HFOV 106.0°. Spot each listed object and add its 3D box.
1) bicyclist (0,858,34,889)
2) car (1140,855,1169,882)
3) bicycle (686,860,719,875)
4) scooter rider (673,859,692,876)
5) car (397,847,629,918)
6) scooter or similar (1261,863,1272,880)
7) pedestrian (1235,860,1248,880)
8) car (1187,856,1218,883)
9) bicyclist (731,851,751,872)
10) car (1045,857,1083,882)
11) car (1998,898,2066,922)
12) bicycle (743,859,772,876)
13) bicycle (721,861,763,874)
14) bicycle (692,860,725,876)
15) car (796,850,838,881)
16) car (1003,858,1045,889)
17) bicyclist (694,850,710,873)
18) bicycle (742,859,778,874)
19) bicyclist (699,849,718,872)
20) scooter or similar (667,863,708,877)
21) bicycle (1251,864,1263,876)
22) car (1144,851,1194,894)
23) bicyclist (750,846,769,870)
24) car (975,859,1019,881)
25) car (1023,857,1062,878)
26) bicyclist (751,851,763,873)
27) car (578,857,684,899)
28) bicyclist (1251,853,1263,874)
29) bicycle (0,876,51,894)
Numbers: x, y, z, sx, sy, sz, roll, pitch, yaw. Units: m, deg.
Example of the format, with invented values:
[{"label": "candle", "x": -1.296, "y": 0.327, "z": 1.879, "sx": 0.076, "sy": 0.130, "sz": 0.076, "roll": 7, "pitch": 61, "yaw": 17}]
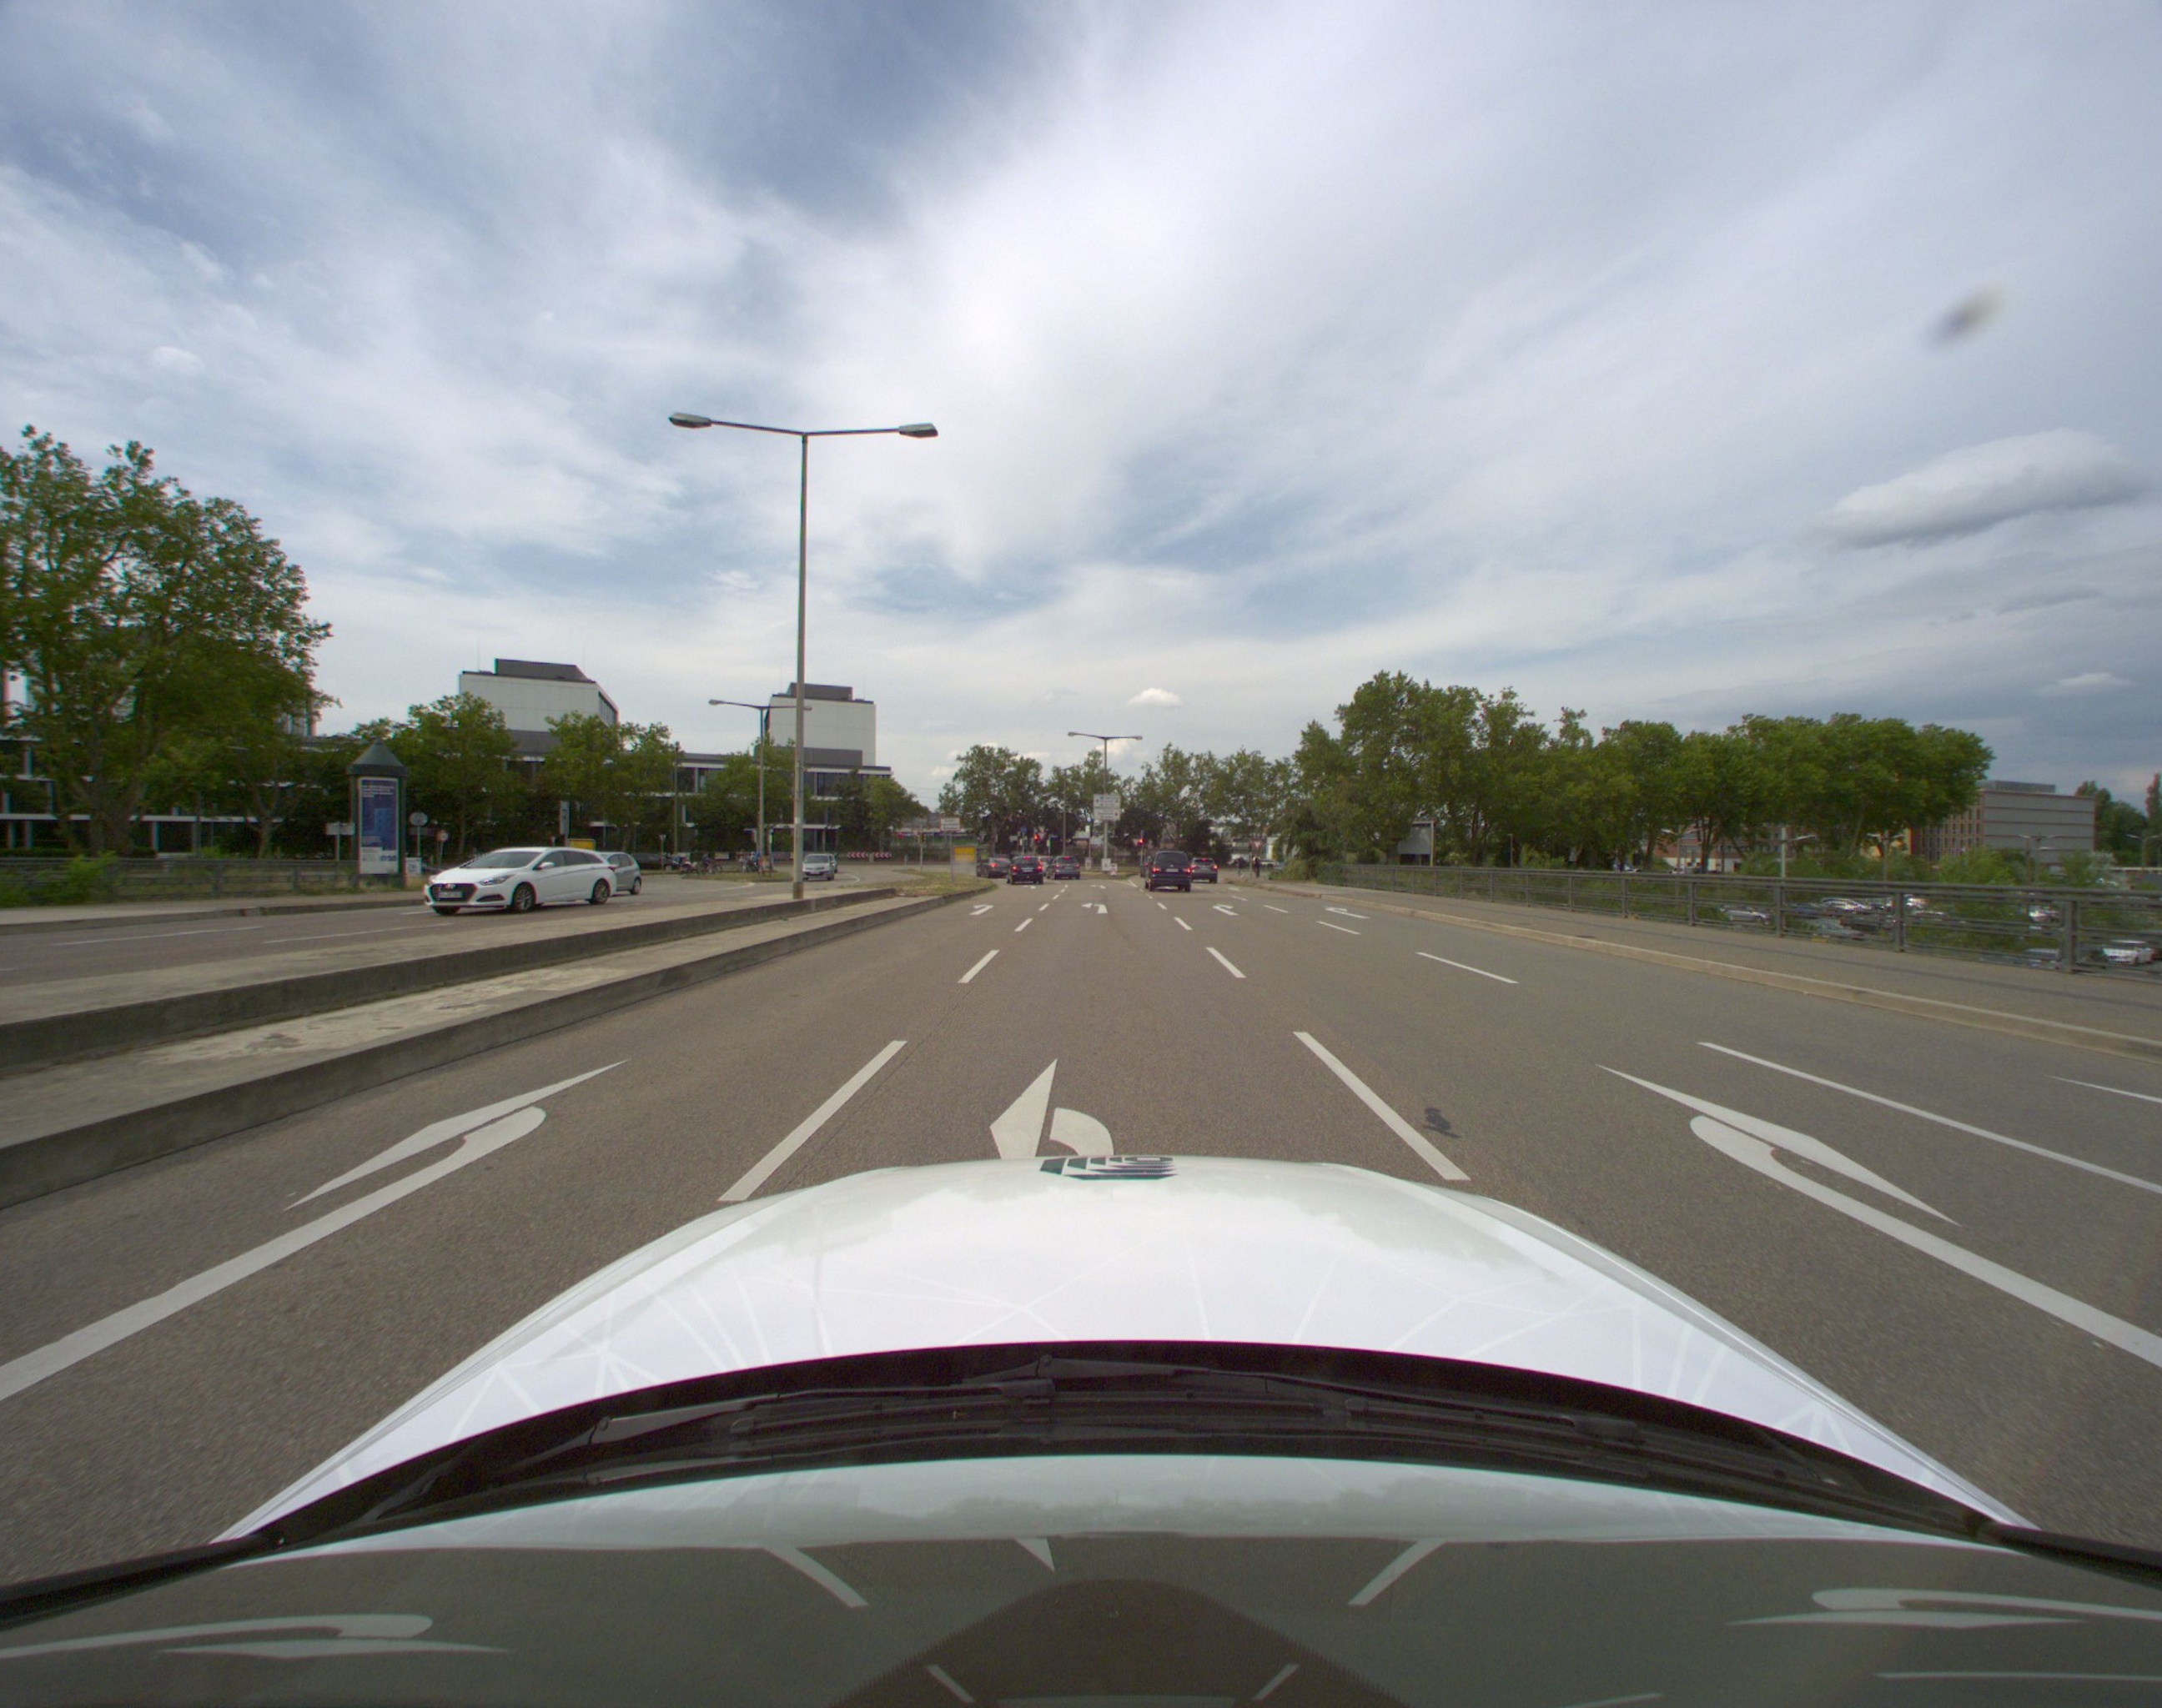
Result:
[{"label": "bicyclist", "x": -56.385, "y": 1.023, "z": 43.111, "sx": 0.921, "sy": 1.615, "sz": 0.736, "roll": 0, "pitch": 0, "yaw": -21}, {"label": "car", "x": 4.652, "y": 0.917, "z": 51.995, "sx": 1.683, "sy": 1.585, "sz": 4.159, "roll": 2, "pitch": -1, "yaw": 3}, {"label": "bicycle", "x": -25.616, "y": 0.915, "z": 55.135, "sx": 1.917, "sy": 1.013, "sz": 0.621, "roll": 0, "pitch": 0, "yaw": -42}, {"label": "scooter rider", "x": -27.162, "y": 0.940, "z": 55.460, "sx": 0.798, "sy": 1.137, "sz": 0.922, "roll": 0, "pitch": 0, "yaw": 40}, {"label": "car", "x": -13.040, "y": 0.568, "z": 19.192, "sx": 1.911, "sy": 1.415, "sz": 4.883, "roll": -1, "pitch": 0, "yaw": 2}, {"label": "scooter or similar", "x": 12.996, "y": 1.255, "z": 57.135, "sx": 0.396, "sy": 1.183, "sz": 1.278, "roll": 0, "pitch": -1, "yaw": -5}, {"label": "pedestrian", "x": 13.759, "y": 1.346, "z": 69.893, "sx": 1.040, "sy": 1.710, "sz": 0.856, "roll": 1, "pitch": 0, "yaw": 12}, {"label": "car", "x": 7.778, "y": 0.997, "z": 52.493, "sx": 1.741, "sy": 1.643, "sz": 4.144, "roll": 2, "pitch": -1, "yaw": 6}, {"label": "bicyclist", "x": -23.697, "y": 0.541, "z": 56.813, "sx": 0.639, "sy": 1.436, "sz": 1.124, "roll": 0, "pitch": 1, "yaw": 44}, {"label": "car", "x": -1.179, "y": 0.993, "z": 53.991, "sx": 1.743, "sy": 1.546, "sz": 4.063, "roll": 0, "pitch": -1, "yaw": -13}, {"label": "car", "x": 90.853, "y": 5.323, "z": 77.867, "sx": 1.767, "sy": 2.013, "sz": 3.964, "roll": 0, "pitch": 0, "yaw": -28}, {"label": "bicycle", "x": -23.269, "y": 0.978, "z": 58.532, "sx": 1.910, "sy": 1.210, "sz": 0.638, "roll": 0, "pitch": 0, "yaw": -25}, {"label": "bicycle", "x": -23.643, "y": 0.928, "z": 56.852, "sx": 0.696, "sy": 0.890, "sz": 2.607, "roll": 0, "pitch": 0, "yaw": 44}, {"label": "bicycle", "x": -24.913, "y": 0.947, "z": 54.516, "sx": 1.916, "sy": 1.013, "sz": 0.621, "roll": 0, "pitch": 0, "yaw": -38}, {"label": "car", "x": -14.873, "y": 0.639, "z": 46.055, "sx": 1.742, "sy": 1.659, "sz": 4.064, "roll": -1, "pitch": -1, "yaw": -10}, {"label": "car", "x": -3.244, "y": 1.040, "z": 45.580, "sx": 1.759, "sy": 1.575, "sz": 4.018, "roll": 1, "pitch": 0, "yaw": -13}, {"label": "bicyclist", "x": -25.646, "y": 0.490, "z": 55.102, "sx": 0.846, "sy": 1.529, "sz": 0.621, "roll": 0, "pitch": 0, "yaw": -42}, {"label": "bicycle", "x": -21.903, "y": 0.830, "z": 55.601, "sx": 0.801, "sy": 0.952, "sz": 2.249, "roll": 0, "pitch": 0, "yaw": 35}, {"label": "bicyclist", "x": -24.926, "y": 0.447, "z": 54.495, "sx": 1.024, "sy": 1.539, "sz": 0.621, "roll": 0, "pitch": 0, "yaw": -37}, {"label": "scooter or similar", "x": -26.927, "y": 1.081, "z": 55.735, "sx": 0.798, "sy": 0.849, "sz": 2.401, "roll": 0, "pitch": 0, "yaw": 40}, {"label": "bicycle", "x": 13.845, "y": 1.254, "z": 64.047, "sx": 0.803, "sy": 0.952, "sz": 2.244, "roll": 0, "pitch": 0, "yaw": 15}, {"label": "car", "x": 3.789, "y": 0.778, "z": 35.672, "sx": 1.744, "sy": 1.725, "sz": 4.138, "roll": 2, "pitch": -1, "yaw": 1}, {"label": "bicyclist", "x": -21.940, "y": 0.272, "z": 55.553, "sx": 0.801, "sy": 1.656, "sz": 0.889, "roll": 0, "pitch": -1, "yaw": 35}, {"label": "car", "x": -5.873, "y": 1.056, "z": 56.314, "sx": 1.826, "sy": 1.414, "sz": 4.741, "roll": 1, "pitch": 0, "yaw": -22}, {"label": "car", "x": -2.900, "y": 0.998, "z": 60.569, "sx": 1.747, "sy": 1.482, "sz": 4.053, "roll": 0, "pitch": -1, "yaw": -21}, {"label": "bicyclist", "x": -23.273, "y": 0.571, "z": 58.516, "sx": 0.783, "sy": 1.581, "sz": 0.649, "roll": 0, "pitch": 0, "yaw": -25}, {"label": "car", "x": -16.425, "y": 0.834, "z": 29.972, "sx": 1.804, "sy": 1.415, "sz": 4.026, "roll": -1, "pitch": -1, "yaw": -2}, {"label": "bicyclist", "x": 13.844, "y": 0.734, "z": 64.089, "sx": 0.804, "sy": 1.696, "sz": 1.120, "roll": 0, "pitch": 0, "yaw": 15}, {"label": "bicycle", "x": -56.327, "y": 1.628, "z": 43.139, "sx": 2.120, "sy": 0.909, "sz": 0.736, "roll": 0, "pitch": 0, "yaw": -21}]
